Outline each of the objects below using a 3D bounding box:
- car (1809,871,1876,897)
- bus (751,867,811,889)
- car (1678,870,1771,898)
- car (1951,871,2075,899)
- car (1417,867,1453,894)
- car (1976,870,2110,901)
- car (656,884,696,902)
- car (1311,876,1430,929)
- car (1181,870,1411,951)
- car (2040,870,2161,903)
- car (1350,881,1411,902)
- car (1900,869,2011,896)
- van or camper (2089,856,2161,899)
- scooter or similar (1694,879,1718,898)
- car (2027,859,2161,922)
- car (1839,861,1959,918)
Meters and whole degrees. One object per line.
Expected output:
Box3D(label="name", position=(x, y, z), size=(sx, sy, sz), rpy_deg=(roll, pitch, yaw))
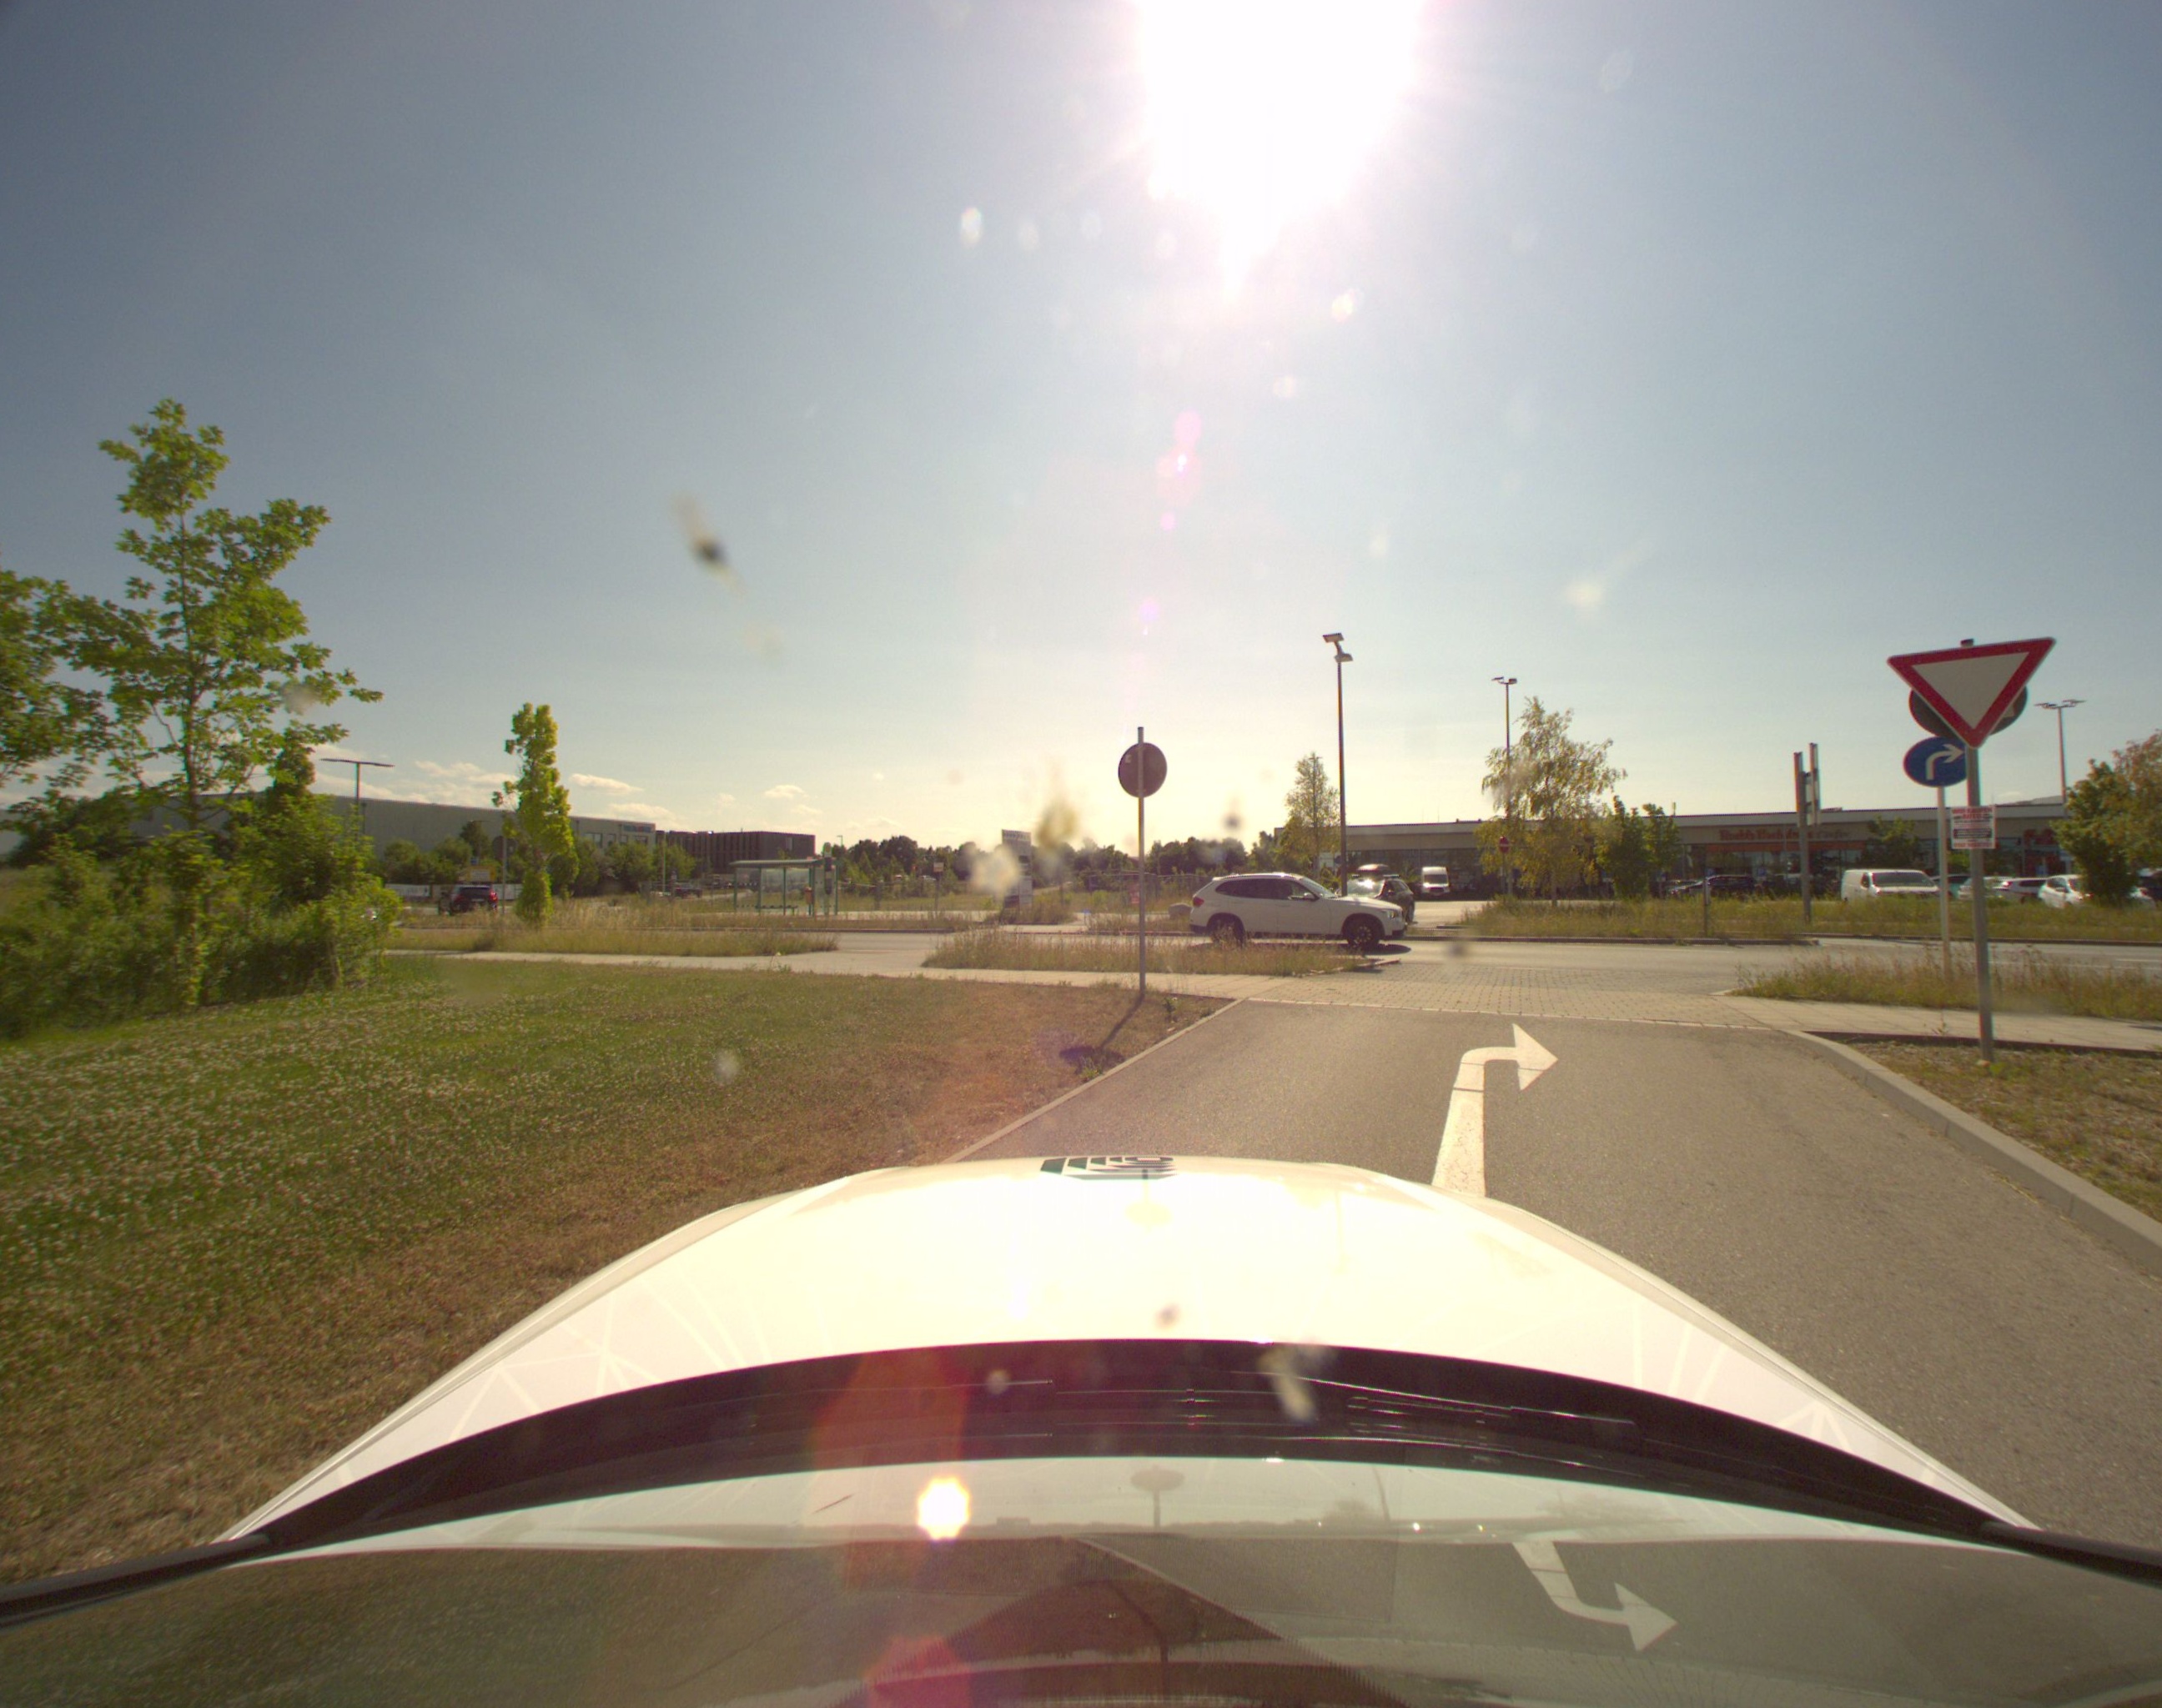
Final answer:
Box3D(label="car", position=(50.633, 1.978, 54.250), size=(1.976, 1.707, 4.021), rpy_deg=(-1, -2, 23))
Box3D(label="bus", position=(-40.252, 3.223, 109.778), size=(2.558, 2.735, 11.591), rpy_deg=(0, -1, 7))
Box3D(label="car", position=(36.194, 1.688, 45.920), size=(3.759, 1.509, 1.741), rpy_deg=(-2, -2, 24))
Box3D(label="car", position=(47.066, 1.580, 41.225), size=(3.688, 1.391, 1.740), rpy_deg=(-1, -2, 21))
Box3D(label="car", position=(28.089, 2.101, 64.730), size=(2.203, 1.977, 6.729), rpy_deg=(-1, -2, 20))
Box3D(label="car", position=(45.488, 1.495, 38.598), size=(3.688, 1.391, 1.740), rpy_deg=(-1, -2, 21))
Box3D(label="car", position=(-43.804, 4.183, 88.165), size=(1.811, 1.860, 4.011), rpy_deg=(0, -2, 10))
Box3D(label="car", position=(9.092, 1.466, 25.400), size=(1.975, 1.517, 4.221), rpy_deg=(-2, -3, 43))
Box3D(label="car", position=(4.559, 1.137, 17.302), size=(4.515, 1.551, 1.750), rpy_deg=(-1, -2, 22))
Box3D(label="car", position=(45.305, 1.426, 35.773), size=(3.688, 1.391, 1.740), rpy_deg=(-1, -2, 21))
Box3D(label="car", position=(20.358, 2.532, 55.449), size=(3.800, 1.423, 1.781), rpy_deg=(-1, -2, 20))
Box3D(label="car", position=(47.426, 1.544, 44.273), size=(3.688, 1.391, 1.740), rpy_deg=(-1, -2, 21))
Box3D(label="van or camper", position=(52.778, 1.128, 39.152), size=(4.988, 2.014, 2.011), rpy_deg=(-1, -2, 26))
Box3D(label="scooter or similar", position=(34.413, 1.901, 44.879), size=(0.934, 1.079, 0.656), rpy_deg=(-2, -2, 28))
Box3D(label="car", position=(35.777, 1.249, 28.705), size=(2.136, 2.014, 5.147), rpy_deg=(-2, -2, 38))
Box3D(label="car", position=(31.416, 1.338, 31.483), size=(2.061, 2.014, 5.261), rpy_deg=(-2, -2, 32))
